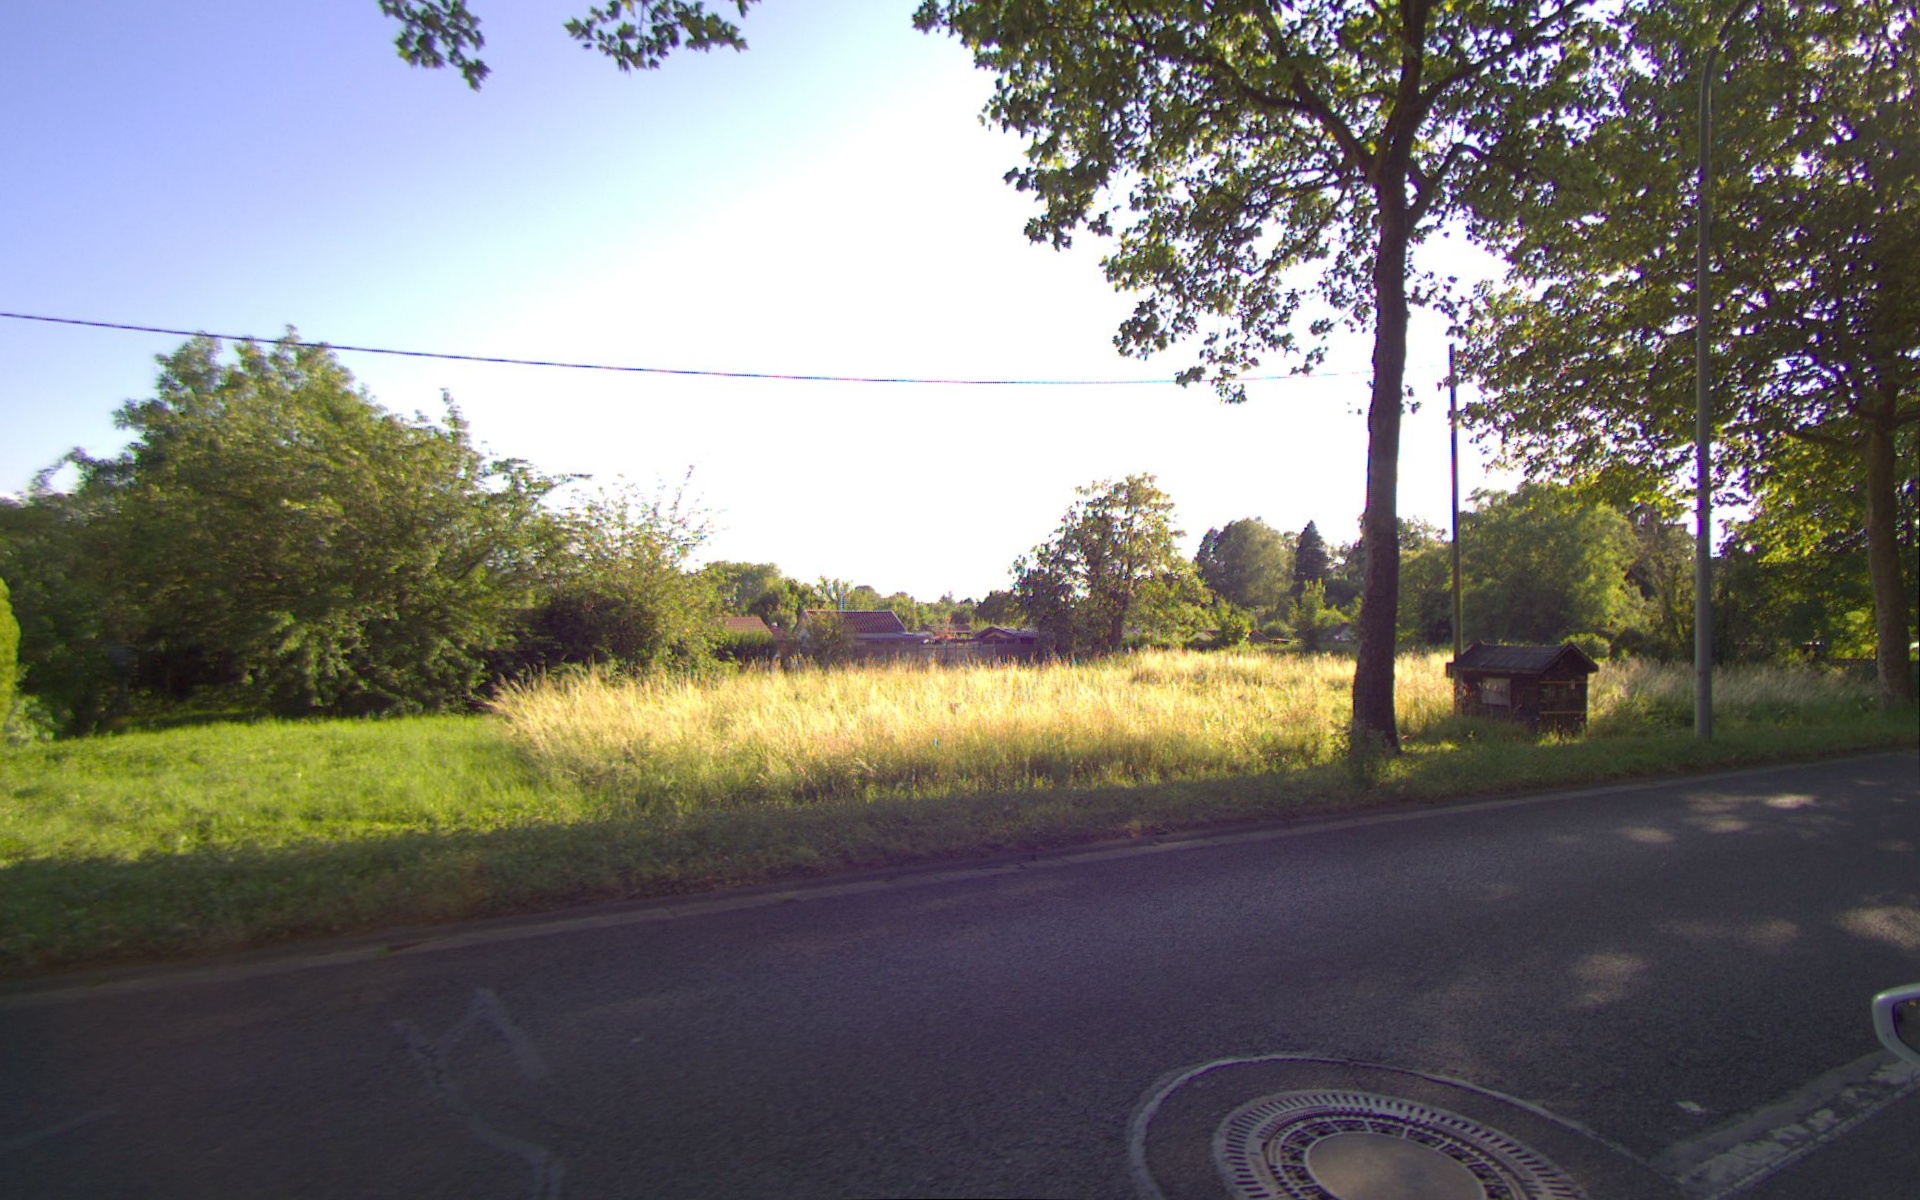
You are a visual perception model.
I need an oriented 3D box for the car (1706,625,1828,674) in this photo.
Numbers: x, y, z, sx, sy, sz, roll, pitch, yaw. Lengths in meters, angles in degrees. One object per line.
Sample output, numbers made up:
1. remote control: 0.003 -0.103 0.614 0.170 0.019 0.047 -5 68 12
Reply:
1. car: 37.265 2.272 46.503 1.969 2.040 3.984 2 0 -18
